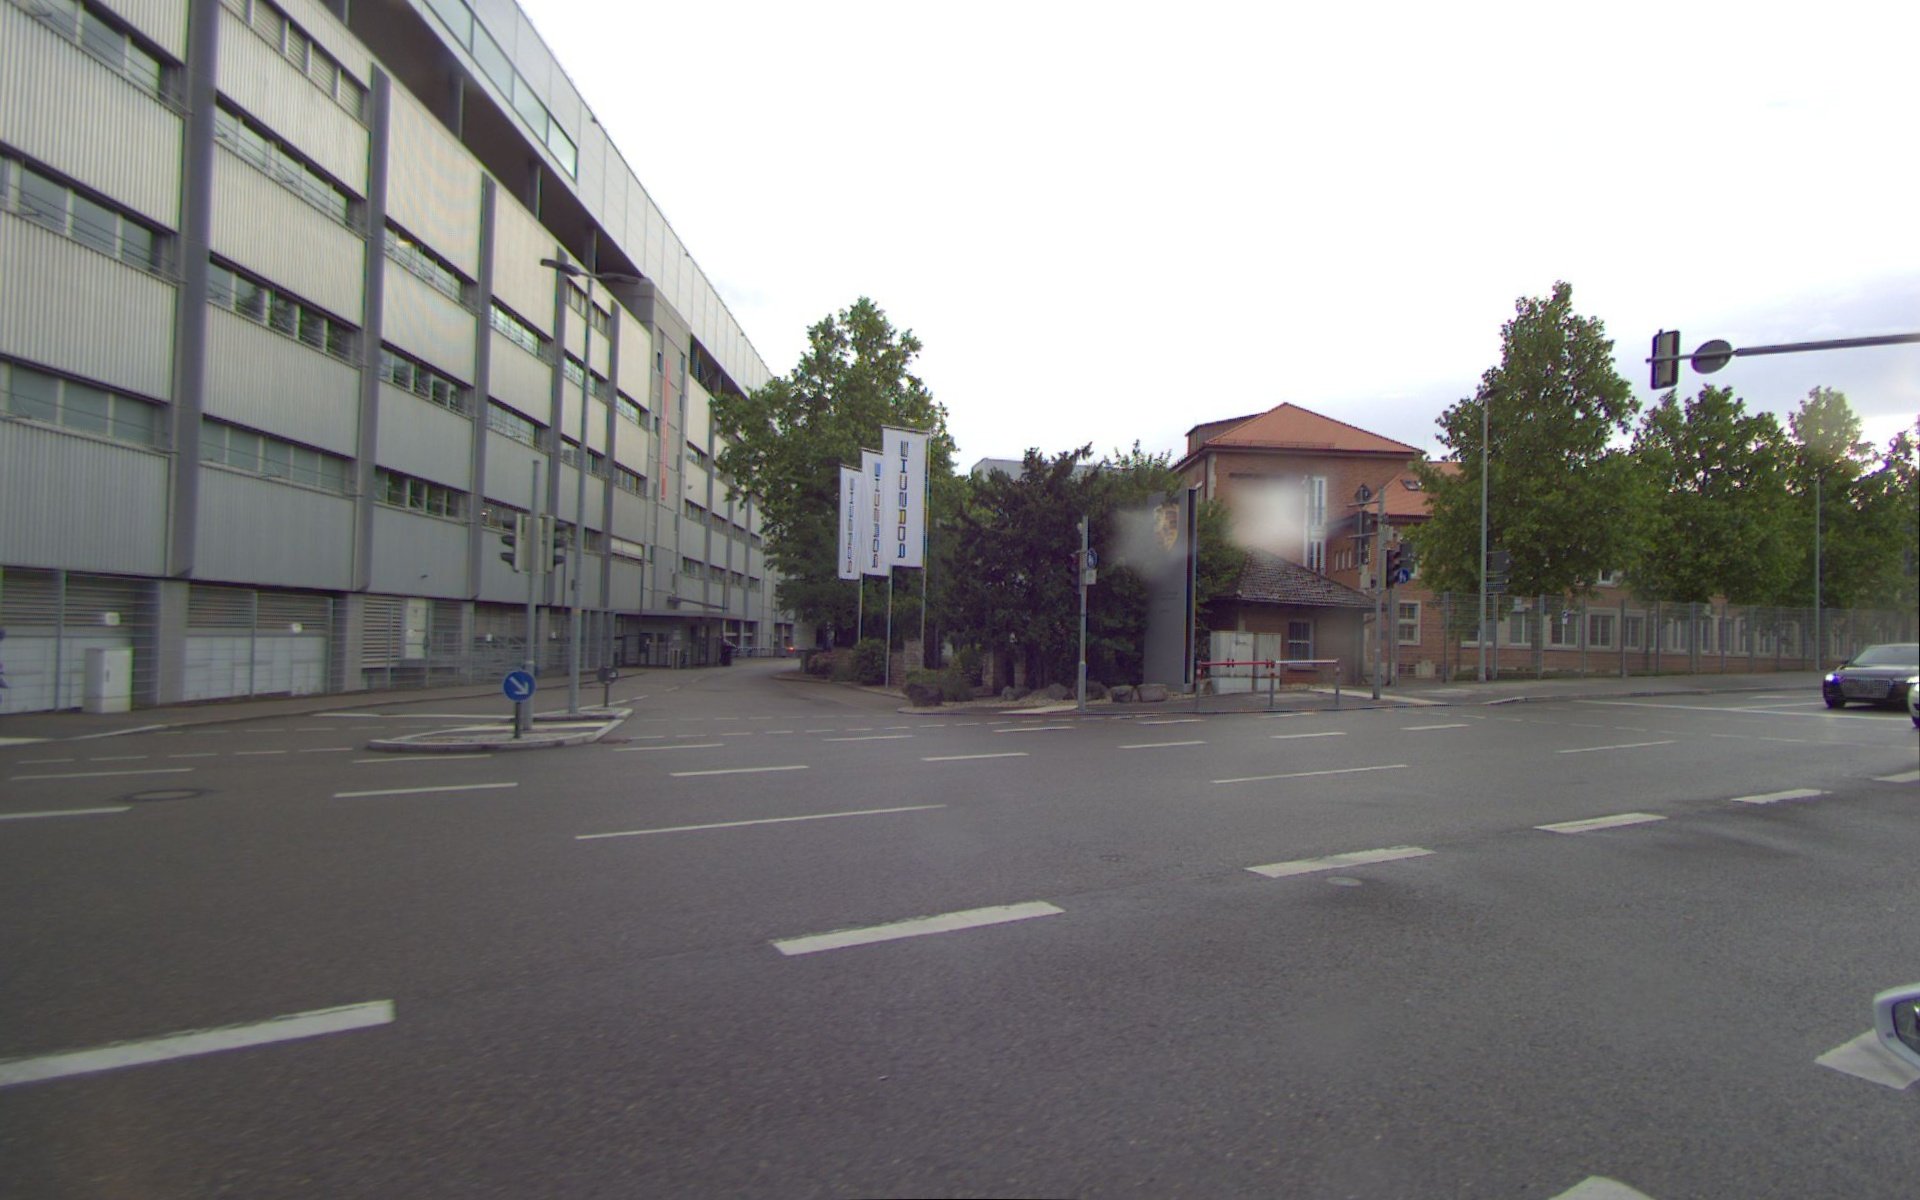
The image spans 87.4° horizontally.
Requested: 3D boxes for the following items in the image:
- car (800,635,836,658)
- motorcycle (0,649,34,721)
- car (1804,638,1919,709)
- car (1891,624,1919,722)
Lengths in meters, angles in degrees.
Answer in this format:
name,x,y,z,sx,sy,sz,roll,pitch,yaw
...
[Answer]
name,x,y,z,sx,sy,sz,roll,pitch,yaw
car,-17.523,5.700,123.799,4.308,2.753,1.998,1,-2,-7
motorcycle,-14.742,1.227,14.309,0.616,1.040,2.166,-1,-3,32
car,20.756,1.569,22.244,4.561,1.422,1.765,2,-2,-31
car,17.992,1.242,17.177,4.431,1.610,1.764,2,-3,-29
